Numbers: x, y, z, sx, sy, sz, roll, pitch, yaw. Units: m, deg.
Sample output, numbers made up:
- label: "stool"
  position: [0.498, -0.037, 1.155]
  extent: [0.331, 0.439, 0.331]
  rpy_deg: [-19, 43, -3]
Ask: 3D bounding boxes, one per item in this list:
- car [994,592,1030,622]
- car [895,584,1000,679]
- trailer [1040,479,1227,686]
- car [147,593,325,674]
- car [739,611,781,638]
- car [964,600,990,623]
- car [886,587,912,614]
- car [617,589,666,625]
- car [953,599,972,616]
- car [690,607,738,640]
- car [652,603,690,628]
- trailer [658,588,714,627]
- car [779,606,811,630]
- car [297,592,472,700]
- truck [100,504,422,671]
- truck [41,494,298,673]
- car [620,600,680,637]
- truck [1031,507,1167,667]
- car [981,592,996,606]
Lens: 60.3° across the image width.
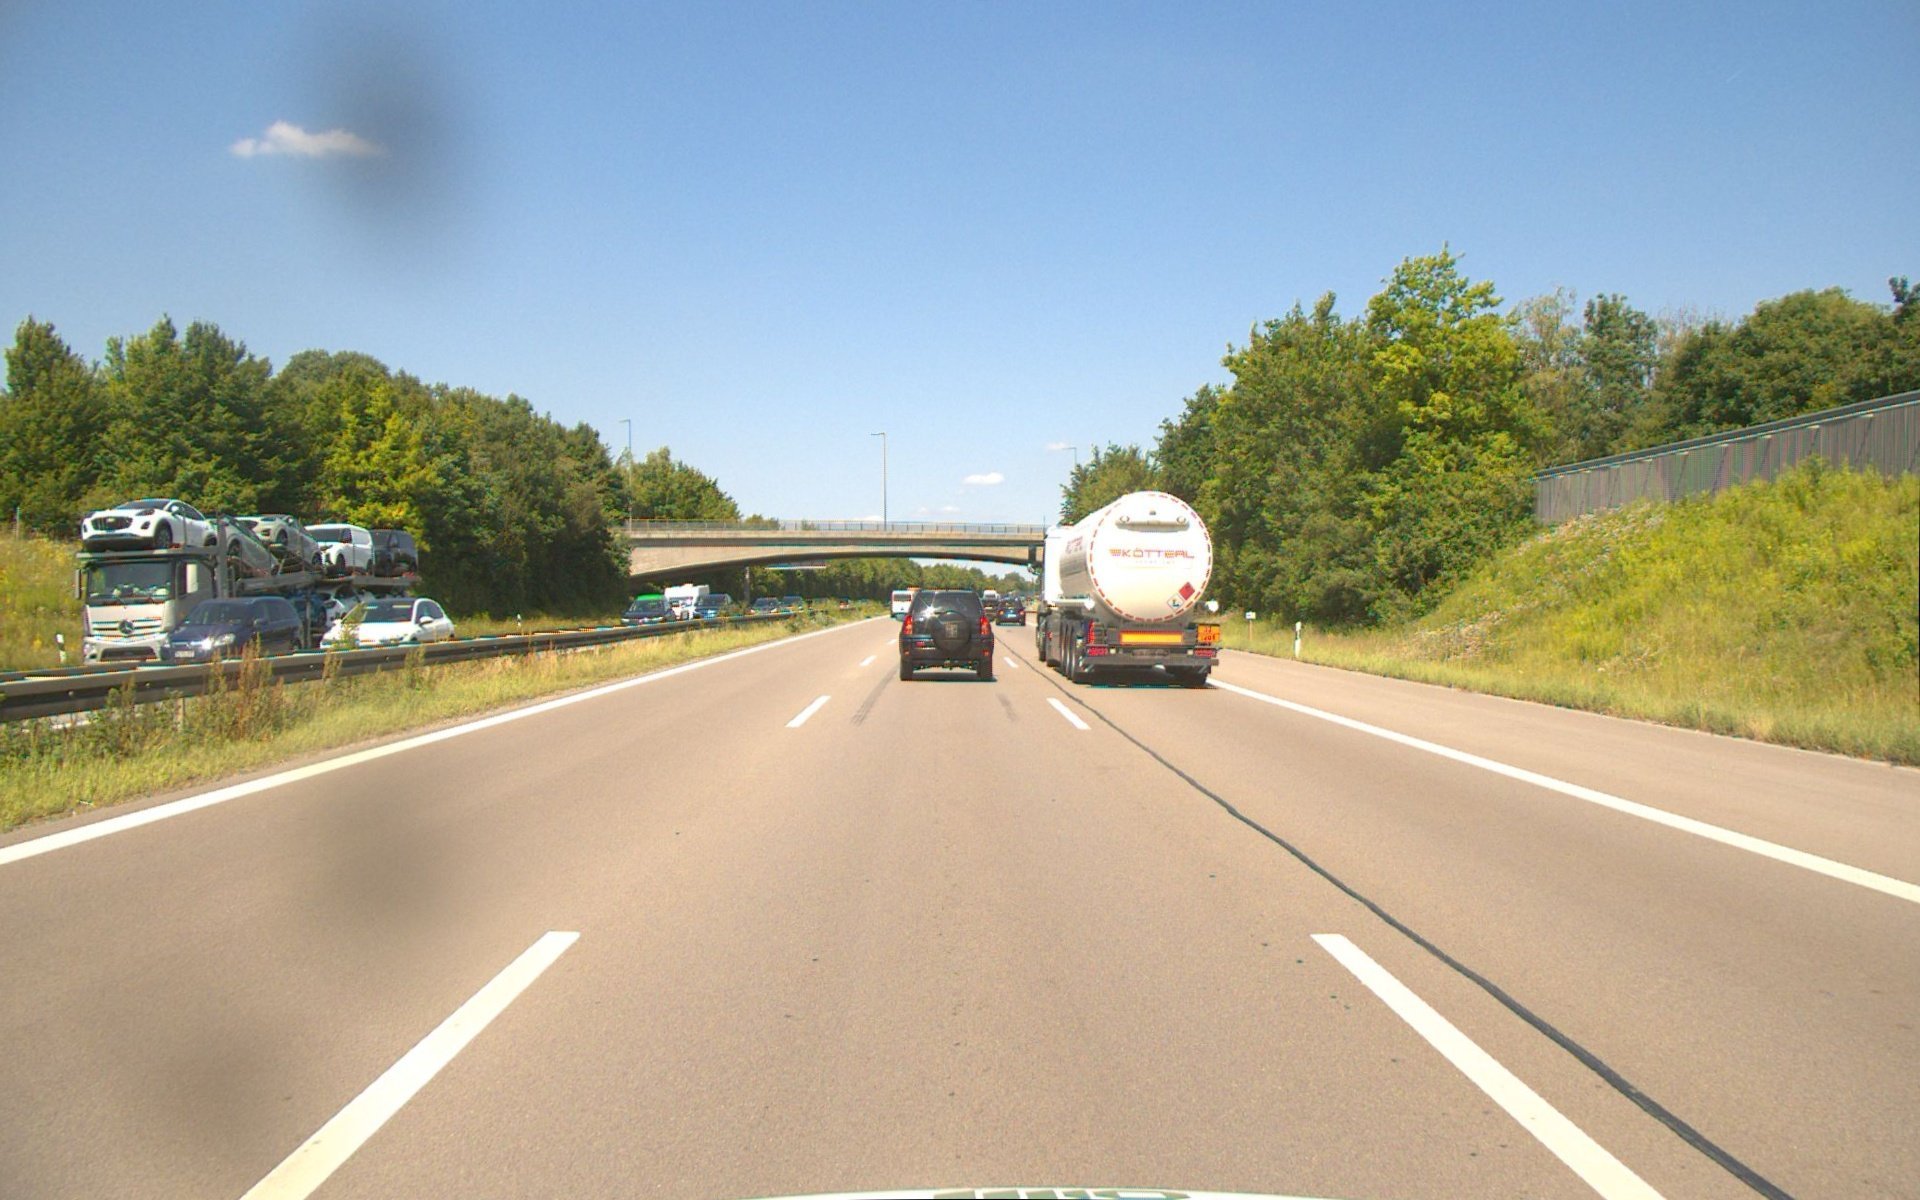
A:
- label: "car"
  position: [3.028, 0.438, 97.560]
  extent: [1.953, 1.713, 3.999]
  rpy_deg: [0, -1, -1]
- label: "car"
  position: [-0.277, 0.566, 31.580]
  extent: [1.868, 1.694, 3.999]
  rpy_deg: [0, 0, -1]
- label: "trailer"
  position: [3.179, -0.292, 33.364]
  extent: [2.594, 3.449, 11.151]
  rpy_deg: [1, 0, 0]
- label: "car"
  position: [-15.796, 0.684, 36.370]
  extent: [1.953, 1.642, 4.580]
  rpy_deg: [-1, 0, -1]
- label: "car"
  position: [-12.526, 1.526, 103.919]
  extent: [1.953, 1.633, 5.089]
  rpy_deg: [0, 0, 0]
- label: "car"
  position: [1.204, 0.836, 117.873]
  extent: [1.804, 1.640, 4.000]
  rpy_deg: [0, -1, 1]
- label: "car"
  position: [-4.701, 0.037, 127.995]
  extent: [1.953, 2.049, 4.947]
  rpy_deg: [-1, 0, -2]
- label: "car"
  position: [-16.697, 0.362, 86.818]
  extent: [1.777, 1.840, 4.380]
  rpy_deg: [-1, 0, -1]
- label: "car"
  position: [0.286, 0.789, 179.722]
  extent: [1.953, 1.780, 4.204]
  rpy_deg: [-1, 0, -1]
- label: "car"
  position: [-12.425, 1.181, 83.661]
  extent: [1.812, 1.601, 4.421]
  rpy_deg: [0, -1, -1]
- label: "car"
  position: [-19.930, 1.039, 114.378]
  extent: [1.809, 1.634, 4.809]
  rpy_deg: [0, 0, 0]
- label: "trailer"
  position: [-20.007, 0.500, 121.066]
  extent: [2.676, 2.734, 8.629]
  rpy_deg: [0, 0, 0]
- label: "car"
  position: [-11.967, 1.278, 120.350]
  extent: [1.876, 1.629, 4.434]
  rpy_deg: [-1, 0, -1]
- label: "car"
  position: [-11.763, 0.924, 34.195]
  extent: [1.953, 2.049, 4.912]
  rpy_deg: [0, -1, -1]
- label: "truck"
  position: [-20.209, -0.334, 49.748]
  extent: [3.147, 4.120, 16.667]
  rpy_deg: [-1, 0, -2]
- label: "truck"
  position: [-19.924, -0.402, 42.300]
  extent: [3.175, 4.120, 7.392]
  rpy_deg: [-1, 0, -2]
- label: "car"
  position: [-12.418, 0.709, 66.471]
  extent: [1.681, 1.414, 3.999]
  rpy_deg: [-1, 0, -1]
- label: "truck"
  position: [3.144, -0.285, 38.957]
  extent: [2.584, 3.434, 6.486]
  rpy_deg: [1, 0, -1]
- label: "car"
  position: [3.767, -0.094, 218.579]
  extent: [1.776, 1.777, 3.998]
  rpy_deg: [-1, 0, -2]
